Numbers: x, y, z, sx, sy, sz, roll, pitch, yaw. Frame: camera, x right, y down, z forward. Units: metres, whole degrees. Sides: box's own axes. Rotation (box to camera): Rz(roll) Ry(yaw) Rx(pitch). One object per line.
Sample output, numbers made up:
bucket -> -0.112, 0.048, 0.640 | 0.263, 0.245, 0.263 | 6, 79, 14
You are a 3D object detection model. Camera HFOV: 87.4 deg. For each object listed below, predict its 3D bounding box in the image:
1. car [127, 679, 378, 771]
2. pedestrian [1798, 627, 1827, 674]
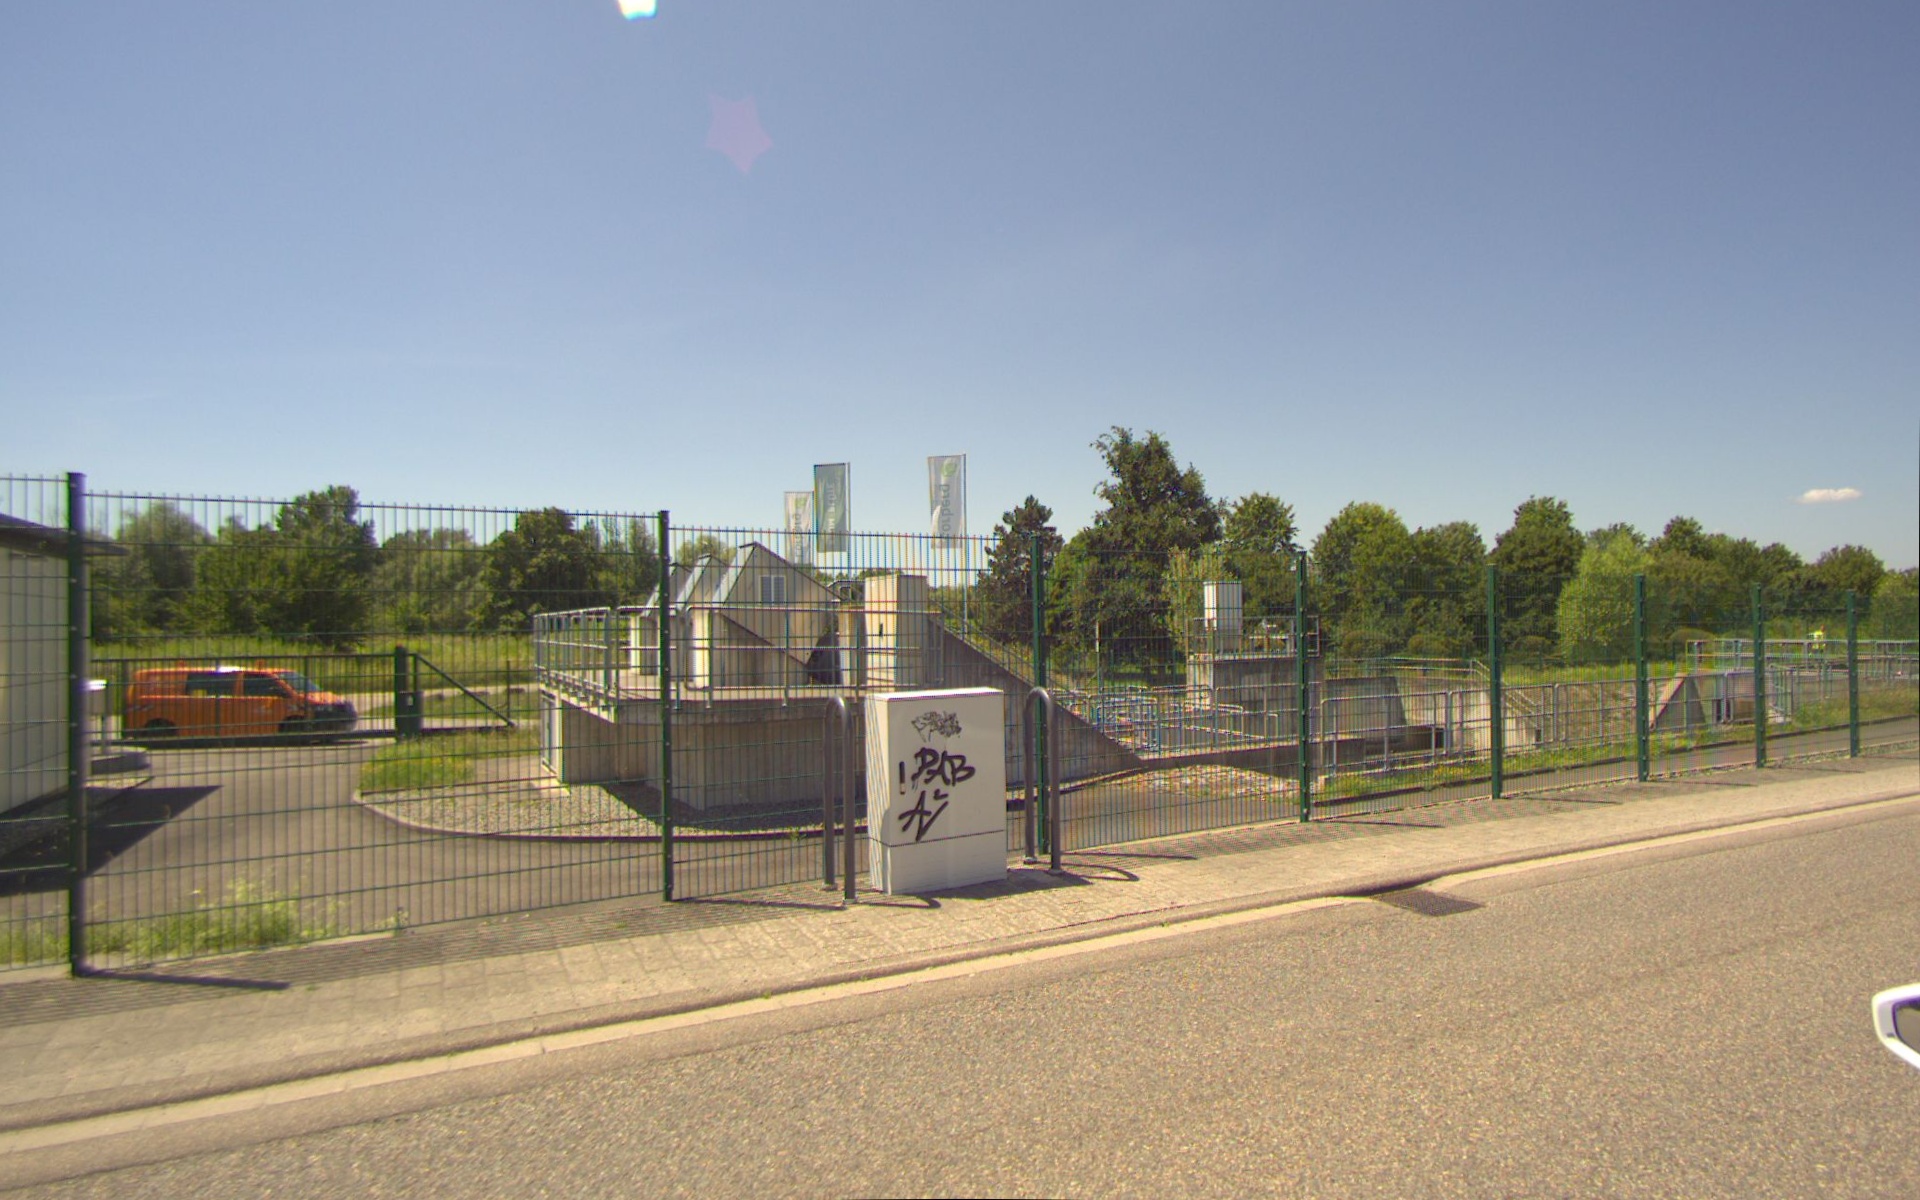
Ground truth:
car -> -17.853, 3.109, 25.599 | 4.777, 2.039, 1.997 | -1, -4, -11
pedestrian -> 34.322, 2.035, 40.448 | 0.795, 1.863, 0.603 | 0, -2, -30
